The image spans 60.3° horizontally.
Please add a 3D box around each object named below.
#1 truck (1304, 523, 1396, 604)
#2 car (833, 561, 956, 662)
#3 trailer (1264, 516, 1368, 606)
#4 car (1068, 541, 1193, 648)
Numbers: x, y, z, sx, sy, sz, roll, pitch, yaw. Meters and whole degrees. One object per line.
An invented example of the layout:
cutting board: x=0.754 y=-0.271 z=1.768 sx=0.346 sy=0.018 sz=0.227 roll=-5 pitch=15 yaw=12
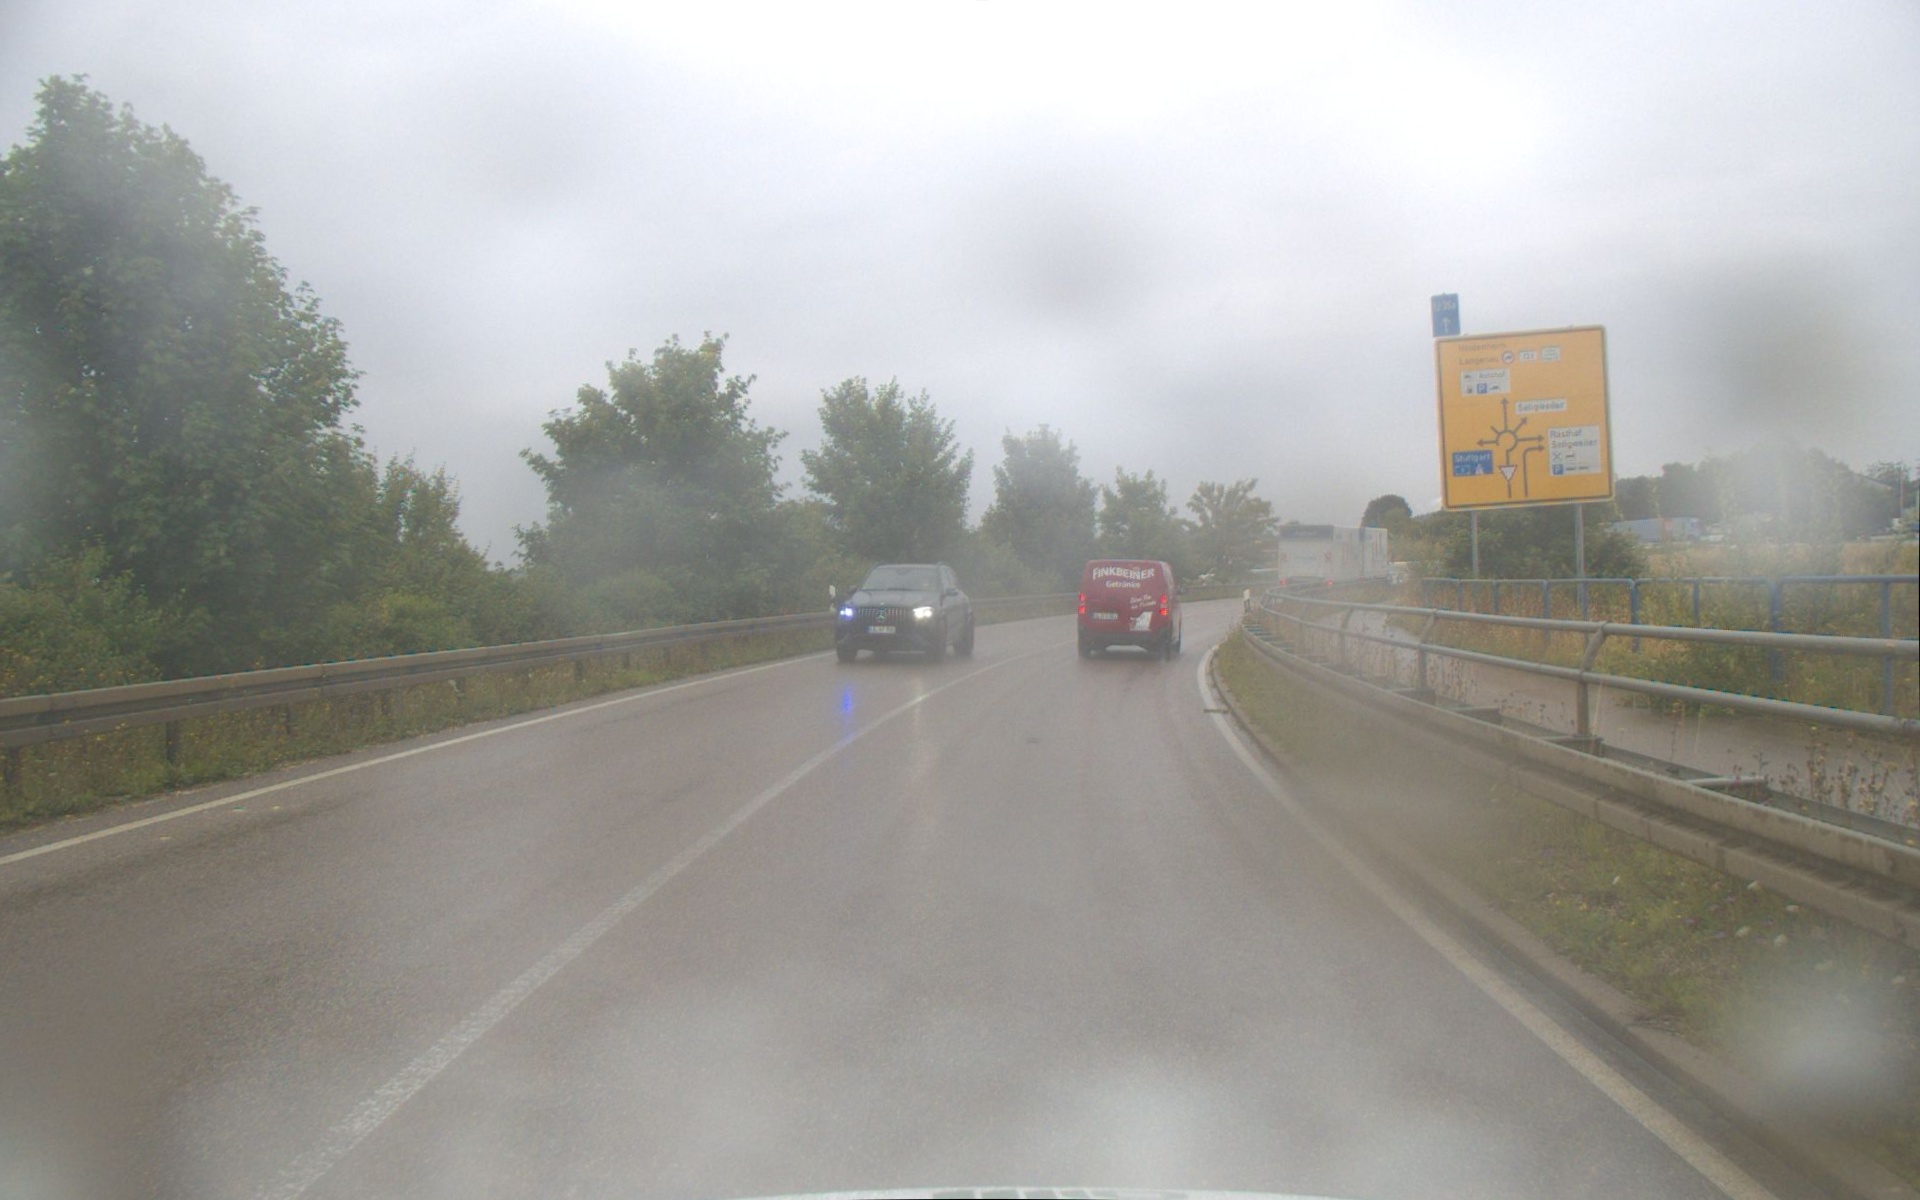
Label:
truck: x=20.509 y=-1.831 z=86.619 sx=3.137 sy=3.990 sz=8.736 roll=1 pitch=0 yaw=24
car: x=-1.150 y=0.180 z=30.829 sx=1.952 sy=1.757 sz=4.002 roll=0 pitch=0 yaw=3
trailer: x=17.012 y=-1.775 z=78.571 sx=3.137 sy=3.990 sz=8.736 roll=1 pitch=0 yaw=24
car: x=3.532 y=-0.162 z=33.626 sx=1.951 sy=1.959 sz=4.147 roll=-2 pitch=1 yaw=13
